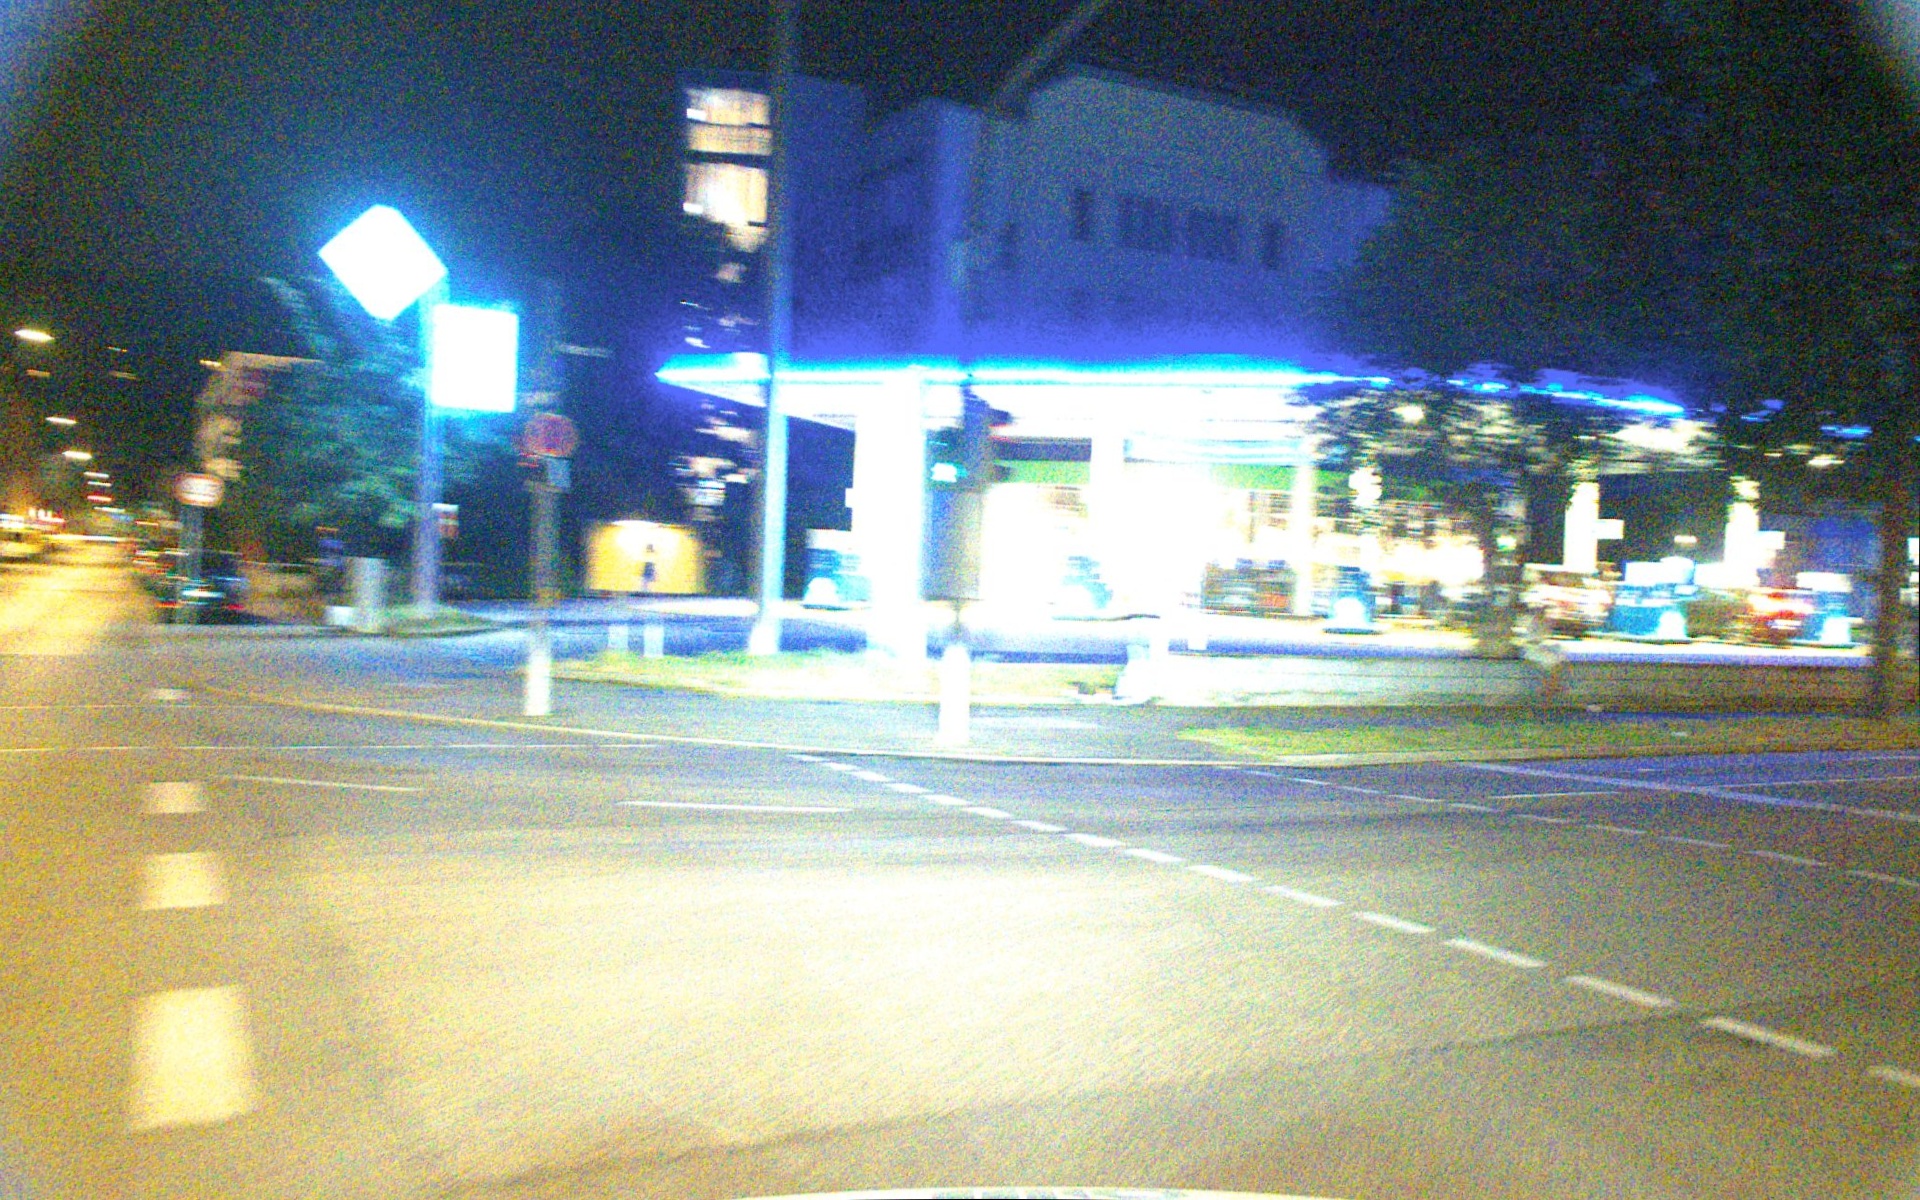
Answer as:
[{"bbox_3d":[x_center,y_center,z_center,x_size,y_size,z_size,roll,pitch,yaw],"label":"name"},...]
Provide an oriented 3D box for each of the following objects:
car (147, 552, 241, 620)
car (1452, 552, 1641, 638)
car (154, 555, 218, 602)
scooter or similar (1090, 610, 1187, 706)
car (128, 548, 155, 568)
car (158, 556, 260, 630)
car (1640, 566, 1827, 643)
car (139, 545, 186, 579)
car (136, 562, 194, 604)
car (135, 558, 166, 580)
[{"bbox_3d":[-20.017,-0.390,43.131,1.971,1.623,3.964,2,0,-28],"label":"car"},{"bbox_3d":[14.384,-0.162,40.810,1.967,1.799,4.221,2,3,-24],"label":"car"},{"bbox_3d":[-27.671,-0.758,59.162,1.968,1.546,3.968,2,0,-25],"label":"car"},{"bbox_3d":[2.282,0.705,20.979,0.700,1.111,1.679,2,1,25],"label":"scooter or similar"},{"bbox_3d":[-70.906,-3.630,143.284,1.968,1.546,3.968,2,0,-25],"label":"car"},{"bbox_3d":[-17.305,-0.197,38.091,1.968,1.542,3.968,2,0,-25],"label":"car"},{"bbox_3d":[20.097,0.088,43.103,1.972,1.692,3.963,2,3,-29],"label":"car"},{"bbox_3d":[-38.973,-1.827,80.894,1.968,1.546,3.968,2,0,-25],"label":"car"},{"bbox_3d":[-31.398,-0.666,65.389,1.968,1.546,3.968,2,0,-25],"label":"car"},{"bbox_3d":[-60.188,-2.315,122.979,1.968,1.546,3.968,2,0,-25],"label":"car"}]
